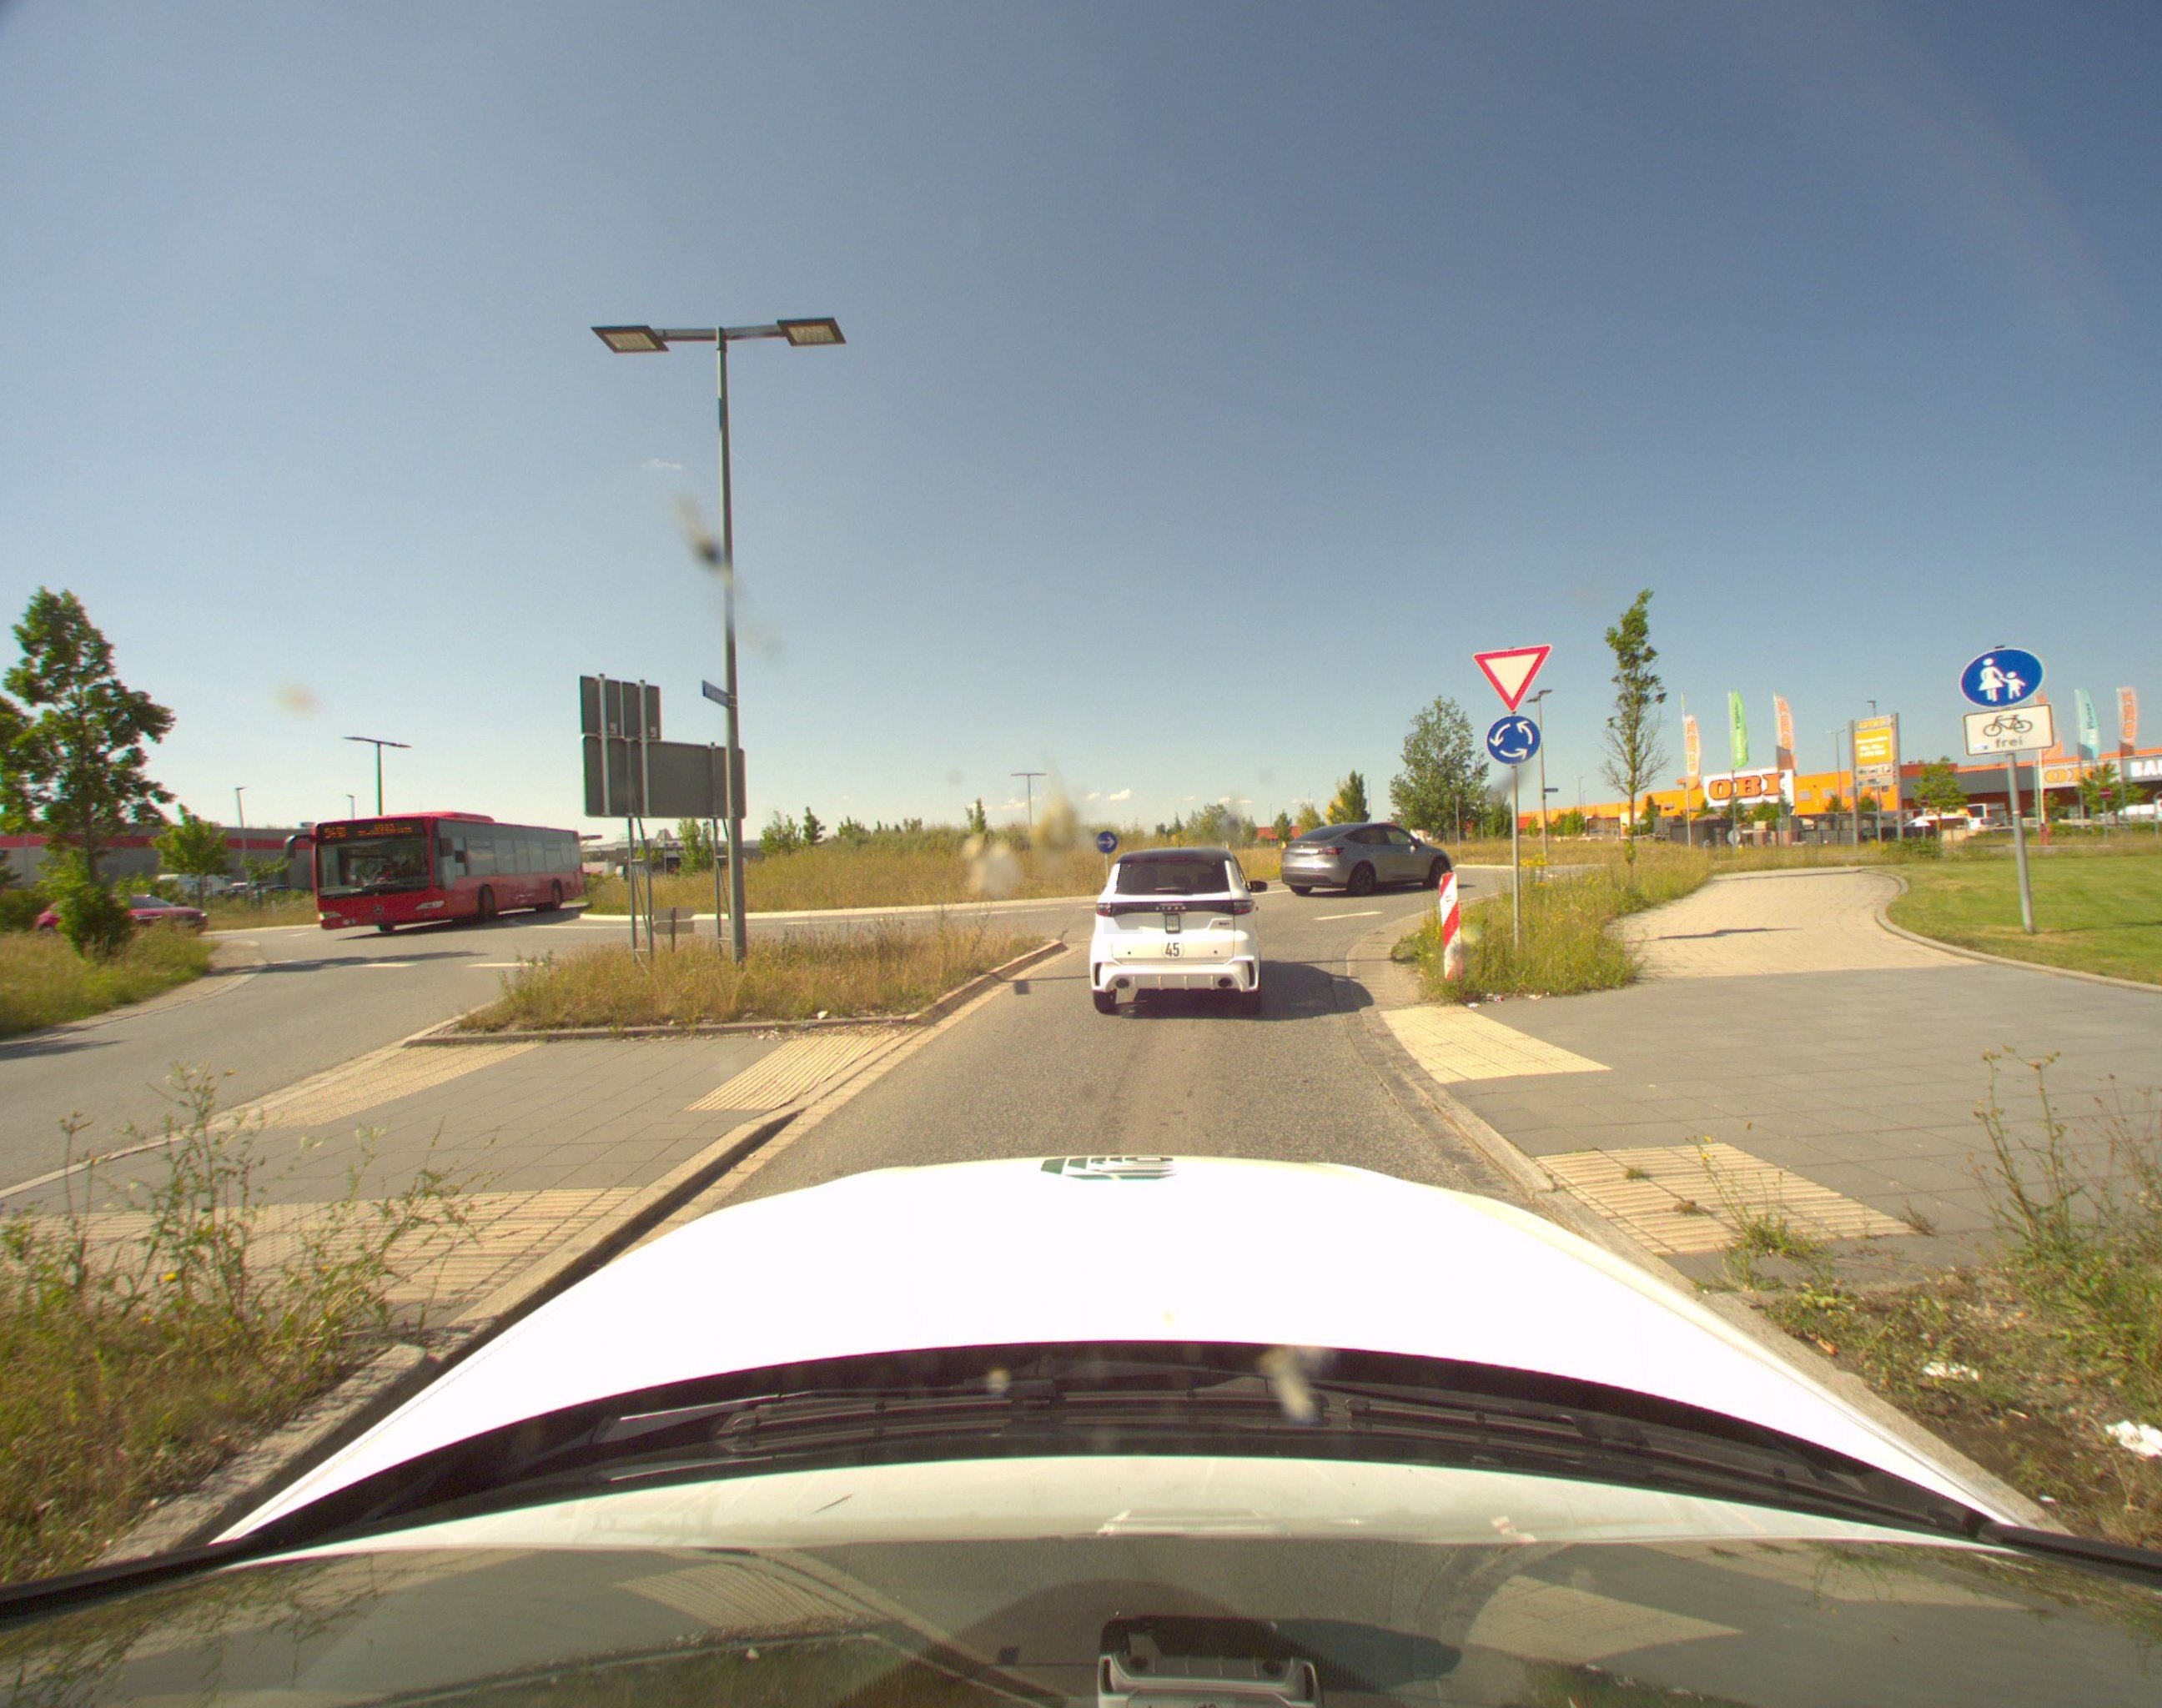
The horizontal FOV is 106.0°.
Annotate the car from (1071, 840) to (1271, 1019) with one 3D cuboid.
[{"bbox_3d":[1.087,0.616,8.677,1.606,1.434,3.804,-2,1,11],"label":"car"}]

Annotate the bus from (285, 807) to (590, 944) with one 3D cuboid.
[{"bbox_3d":[-18.744,0.500,25.205,2.793,3.079,12.136,-4,1,-16],"label":"bus"}]

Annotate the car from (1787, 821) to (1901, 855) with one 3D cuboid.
[{"bbox_3d":[37.874,-0.798,40.474,3.977,1.459,1.854,-2,-1,-2],"label":"car"}]

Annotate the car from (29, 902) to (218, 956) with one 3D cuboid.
[{"bbox_3d":[-29.539,2.304,25.202,3.973,1.387,1.573,-2,-1,1],"label":"car"}]

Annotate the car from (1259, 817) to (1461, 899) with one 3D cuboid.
[{"bbox_3d":[6.553,0.040,18.984,4.641,1.626,1.944,-3,1,-32],"label":"car"}]
